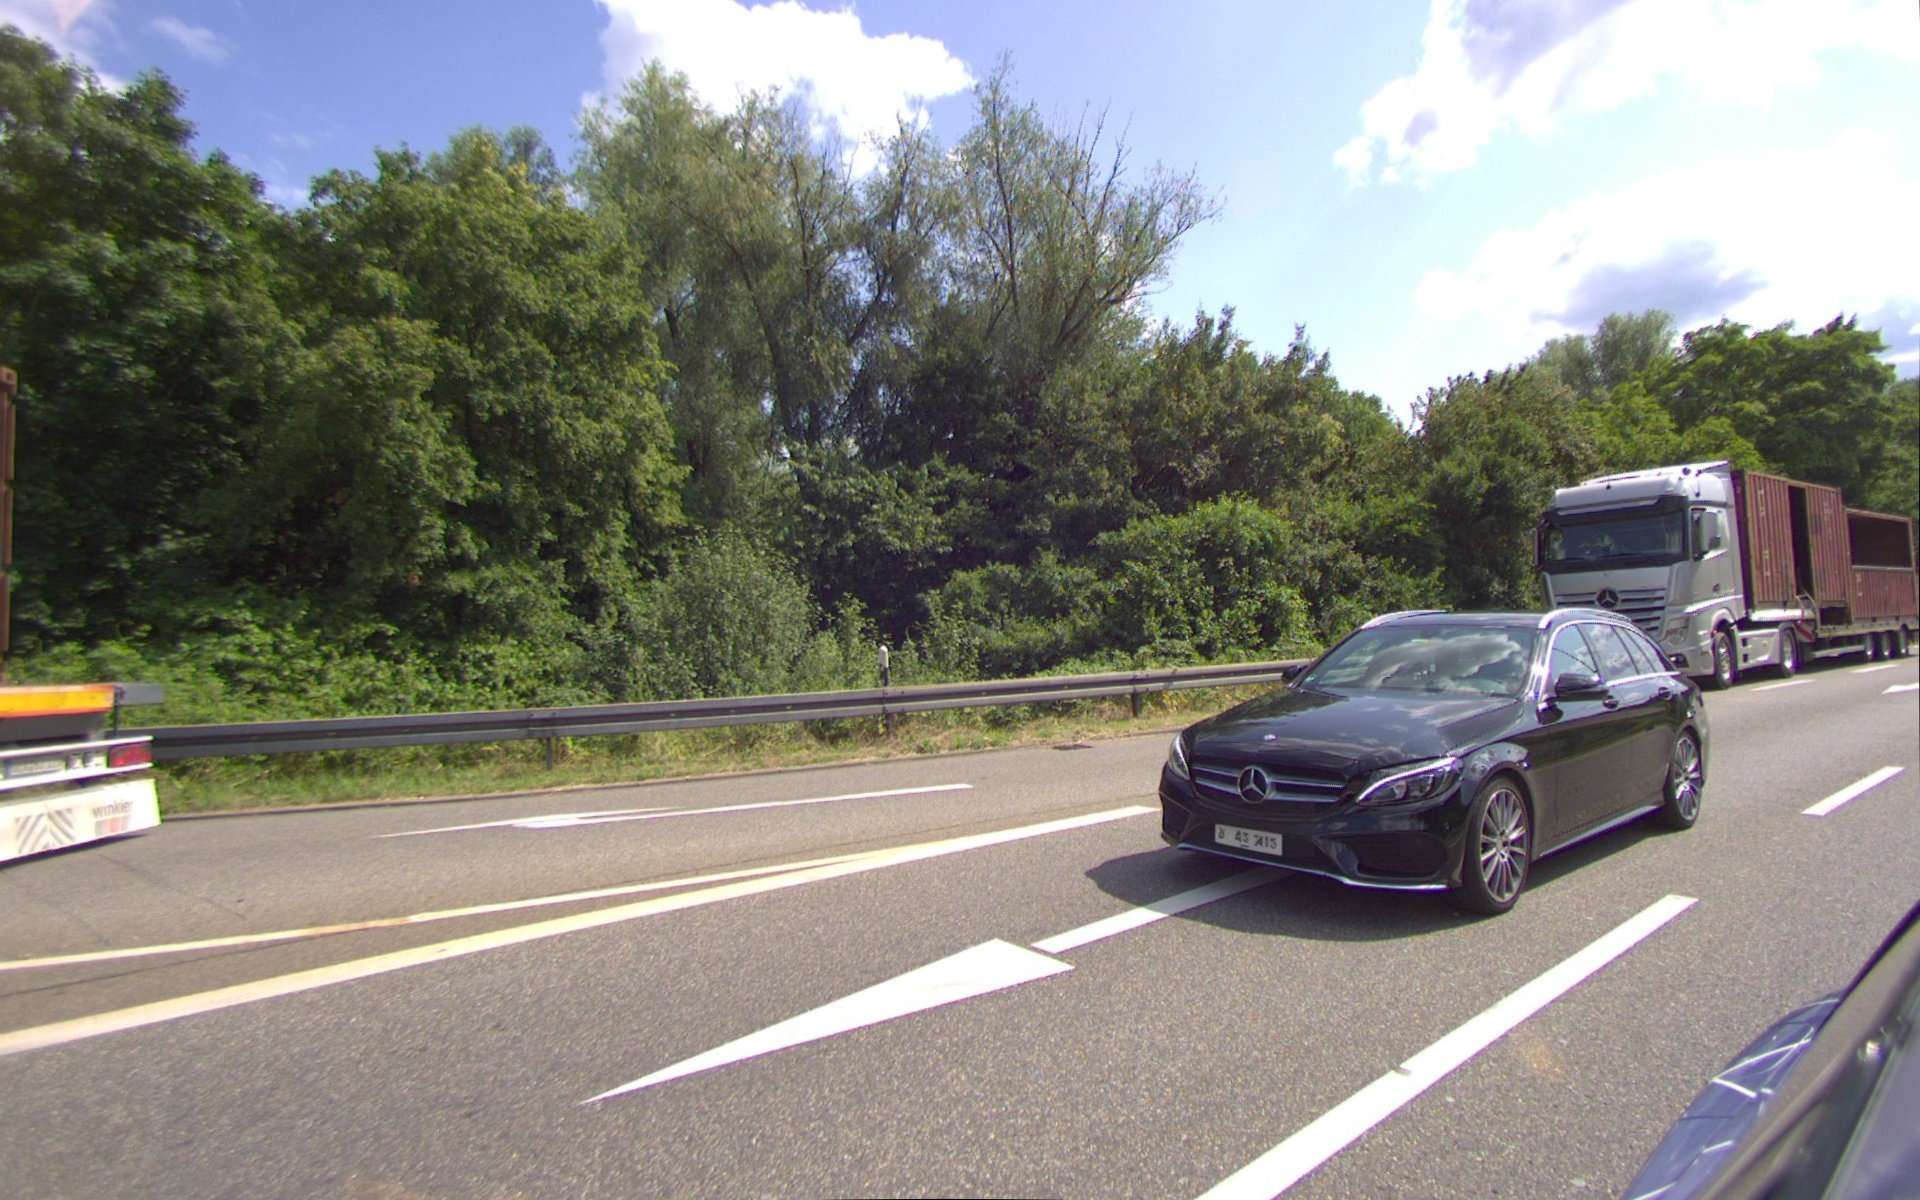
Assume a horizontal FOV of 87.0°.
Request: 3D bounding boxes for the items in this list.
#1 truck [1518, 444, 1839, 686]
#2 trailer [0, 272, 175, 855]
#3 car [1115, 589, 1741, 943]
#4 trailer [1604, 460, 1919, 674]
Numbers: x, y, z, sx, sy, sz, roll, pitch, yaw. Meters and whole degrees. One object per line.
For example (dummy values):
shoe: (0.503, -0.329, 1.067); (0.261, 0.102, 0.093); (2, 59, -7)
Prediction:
truck: (13.864, -0.522, 19.378); (6.691, 3.895, 2.777); (0, -3, -35)
trailer: (-13.260, 0.059, 6.306); (13.563, 3.942, 2.650); (-3, -3, -10)
car: (3.102, 0.704, 6.286); (4.291, 1.454, 1.794); (-1, -2, -39)
trailer: (18.972, -0.600, 23.054); (12.088, 3.900, 2.779); (-1, -2, -36)
